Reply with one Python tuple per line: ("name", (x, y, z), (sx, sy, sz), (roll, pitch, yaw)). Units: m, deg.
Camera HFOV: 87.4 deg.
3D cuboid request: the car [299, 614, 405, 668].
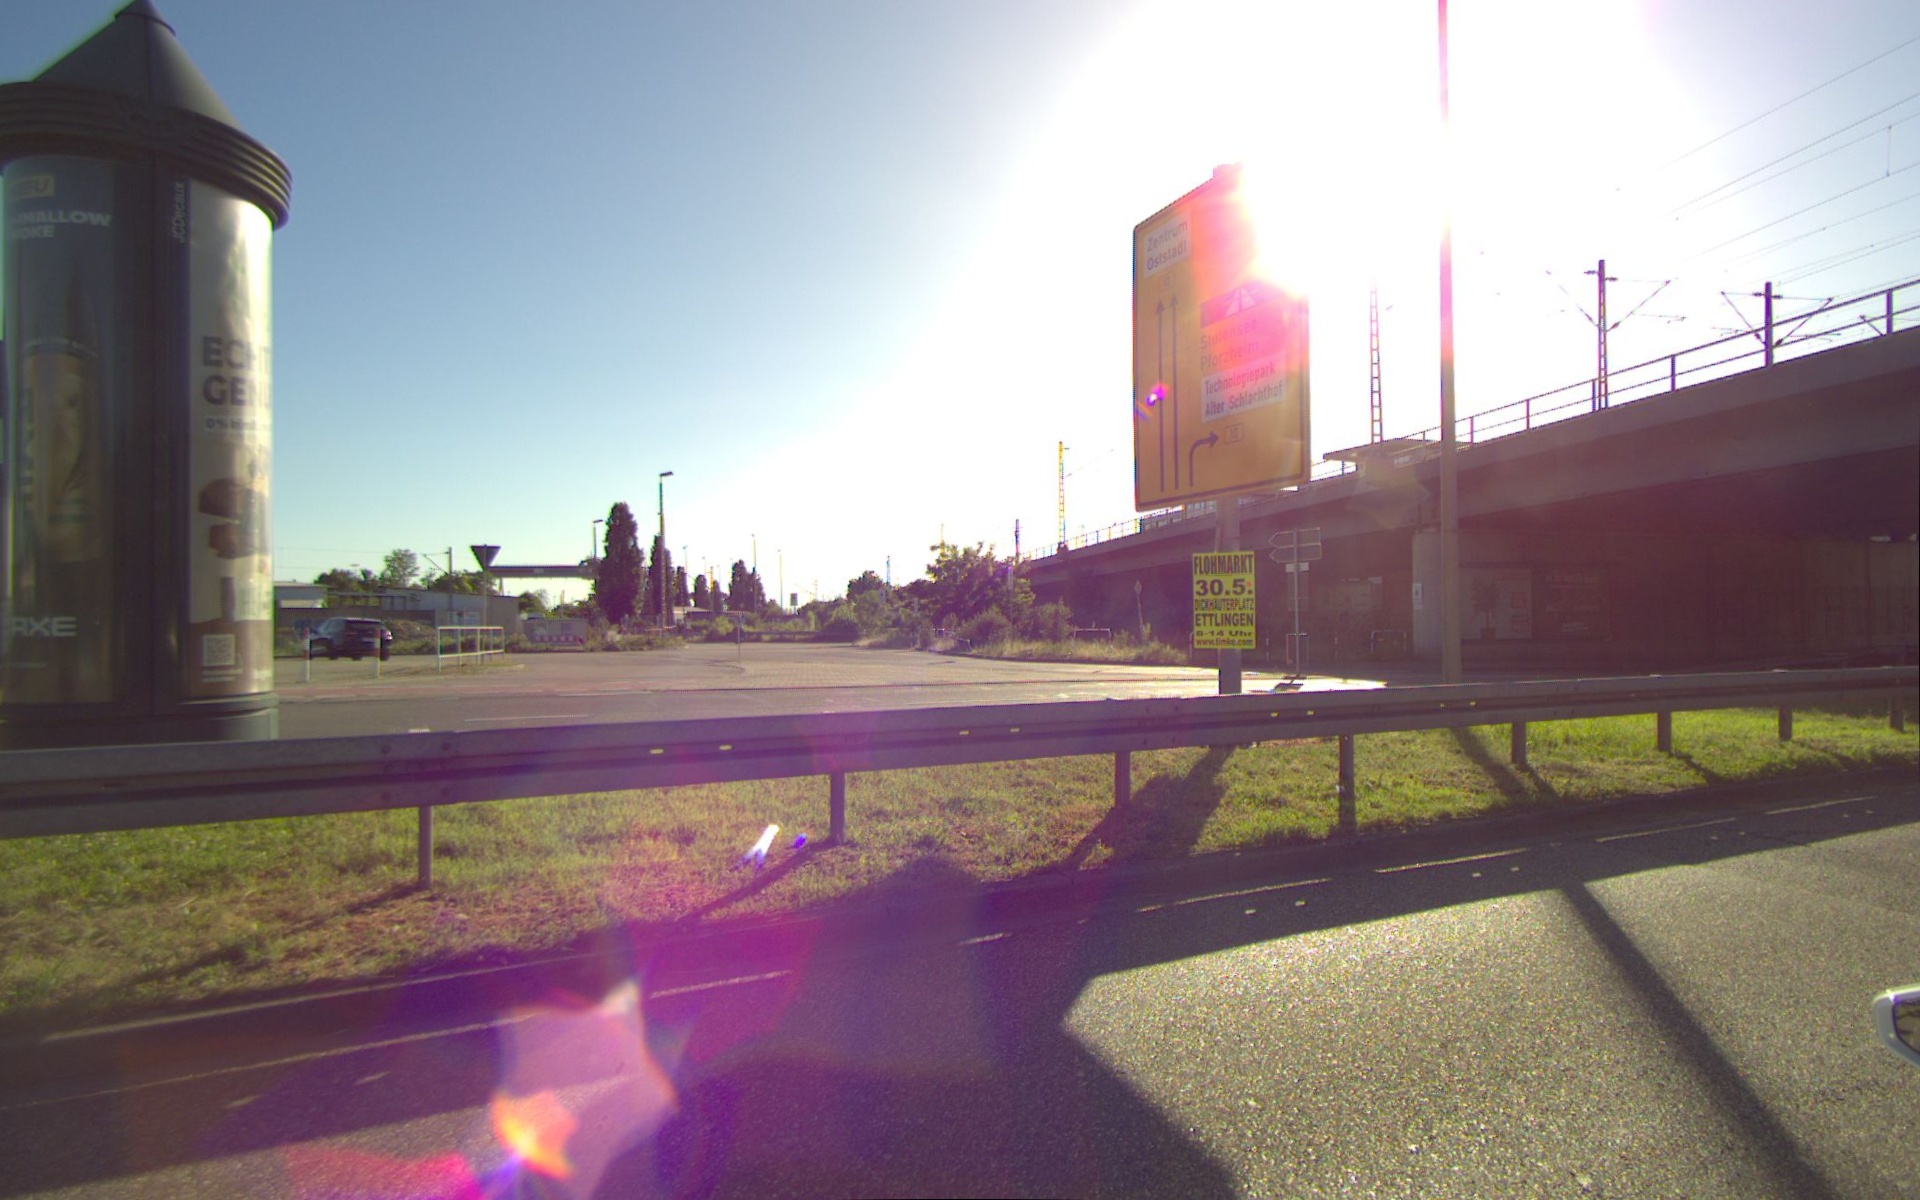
("car", (-21.225, 1.467, 35.001), (4.047, 1.737, 1.945), (-4, -4, 40))
